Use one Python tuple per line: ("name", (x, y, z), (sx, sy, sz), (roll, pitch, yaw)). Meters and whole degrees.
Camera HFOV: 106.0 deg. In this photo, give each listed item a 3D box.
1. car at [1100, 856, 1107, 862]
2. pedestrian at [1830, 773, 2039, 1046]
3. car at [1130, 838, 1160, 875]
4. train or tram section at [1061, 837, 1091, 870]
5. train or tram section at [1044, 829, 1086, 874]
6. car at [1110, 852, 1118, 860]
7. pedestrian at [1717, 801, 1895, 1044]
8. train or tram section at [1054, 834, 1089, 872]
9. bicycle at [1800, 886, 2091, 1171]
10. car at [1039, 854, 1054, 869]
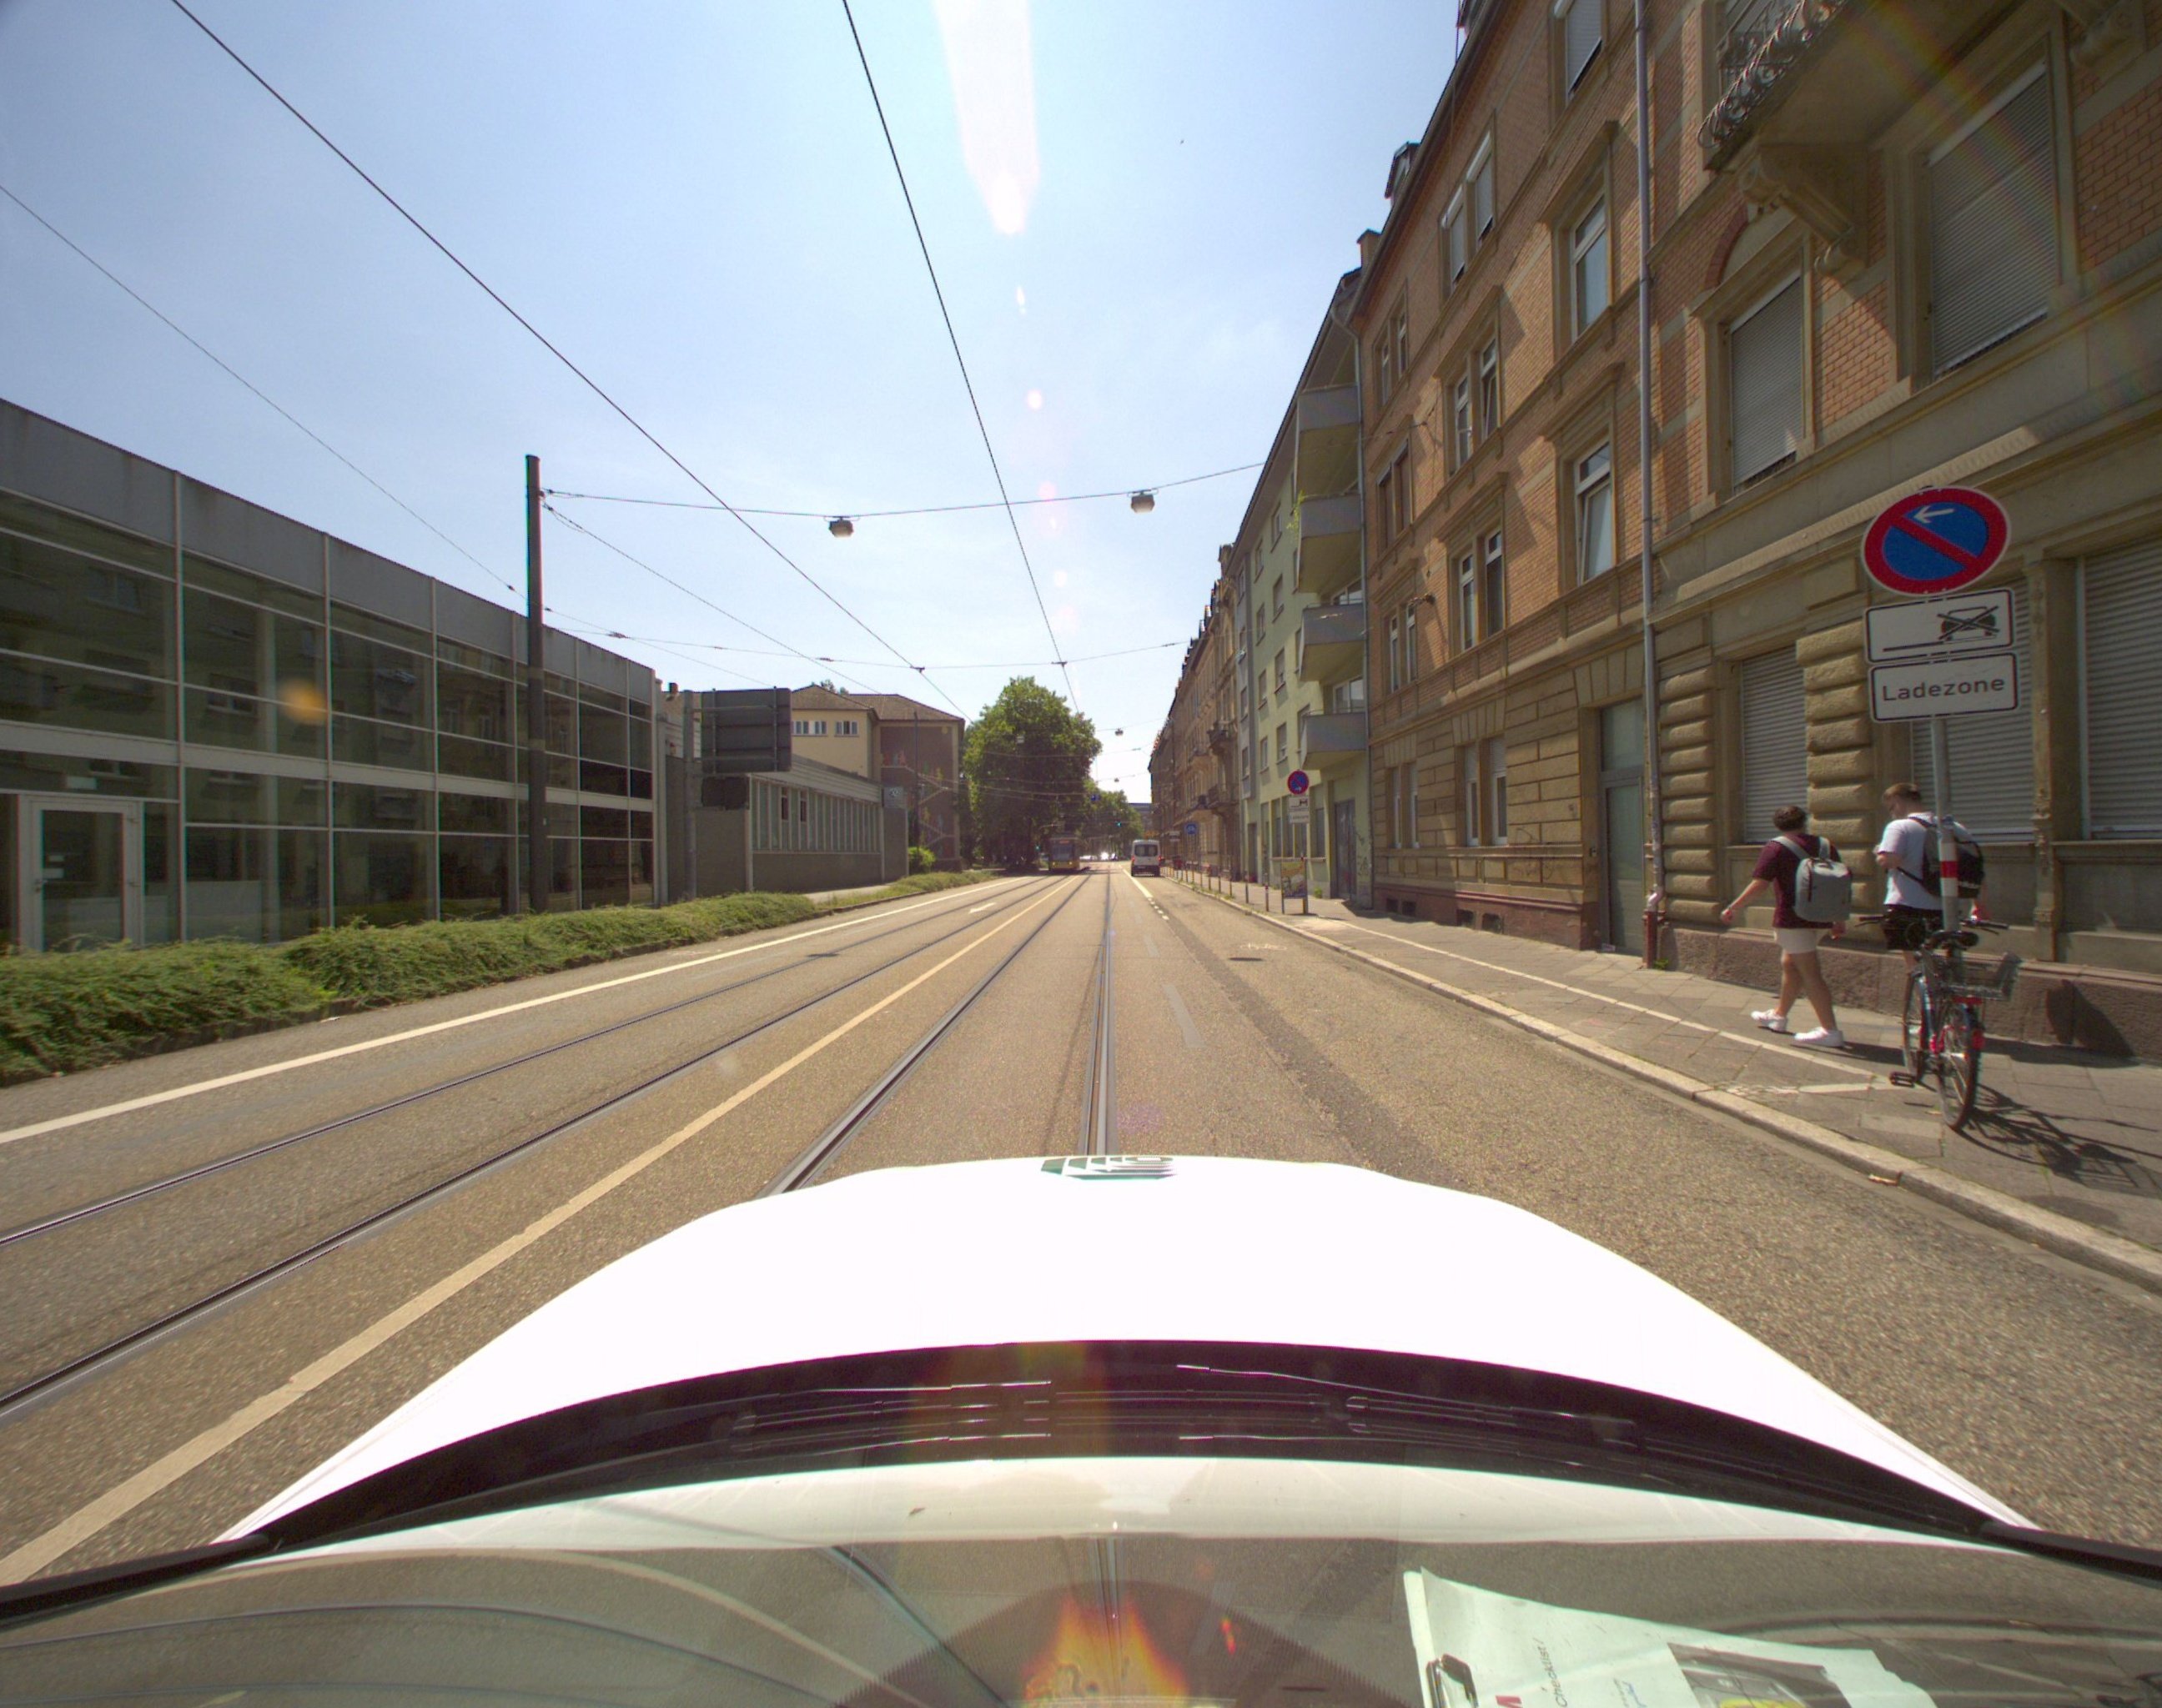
("car", (5.022, 1.098, 183.465), (1.523, 1.408, 3.489), (-1, 0, 0))
("pedestrian", (6.249, 0.388, 6.005), (0.699, 1.849, 0.644), (-5, -1, 3))
("car", (4.526, 0.199, 58.232), (2.059, 2.501, 5.458), (-1, 0, 3))
("train or tram section", (-0.519, -0.070, 95.855), (2.949, 3.580, 13.428), (-1, 0, 2))
("train or tram section", (-1.252, -0.179, 72.716), (2.949, 3.580, 13.428), (-1, 0, 2))
("car", (7.720, 0.556, 190.592), (1.669, 1.860, 3.999), (-1, 0, -1))
("pedestrian", (5.427, 0.490, 6.137), (0.717, 1.720, 0.644), (-2, 0, 3))
("train or tram section", (-0.847, -0.119, 85.611), (2.949, 3.580, 13.428), (-1, 0, 2))
("bicycle", (4.731, 0.804, 4.642), (0.494, 1.130, 2.257), (-2, 0, 30))
("car", (-4.613, 0.945, 108.596), (1.795, 1.923, 3.999), (-1, 0, 0))
